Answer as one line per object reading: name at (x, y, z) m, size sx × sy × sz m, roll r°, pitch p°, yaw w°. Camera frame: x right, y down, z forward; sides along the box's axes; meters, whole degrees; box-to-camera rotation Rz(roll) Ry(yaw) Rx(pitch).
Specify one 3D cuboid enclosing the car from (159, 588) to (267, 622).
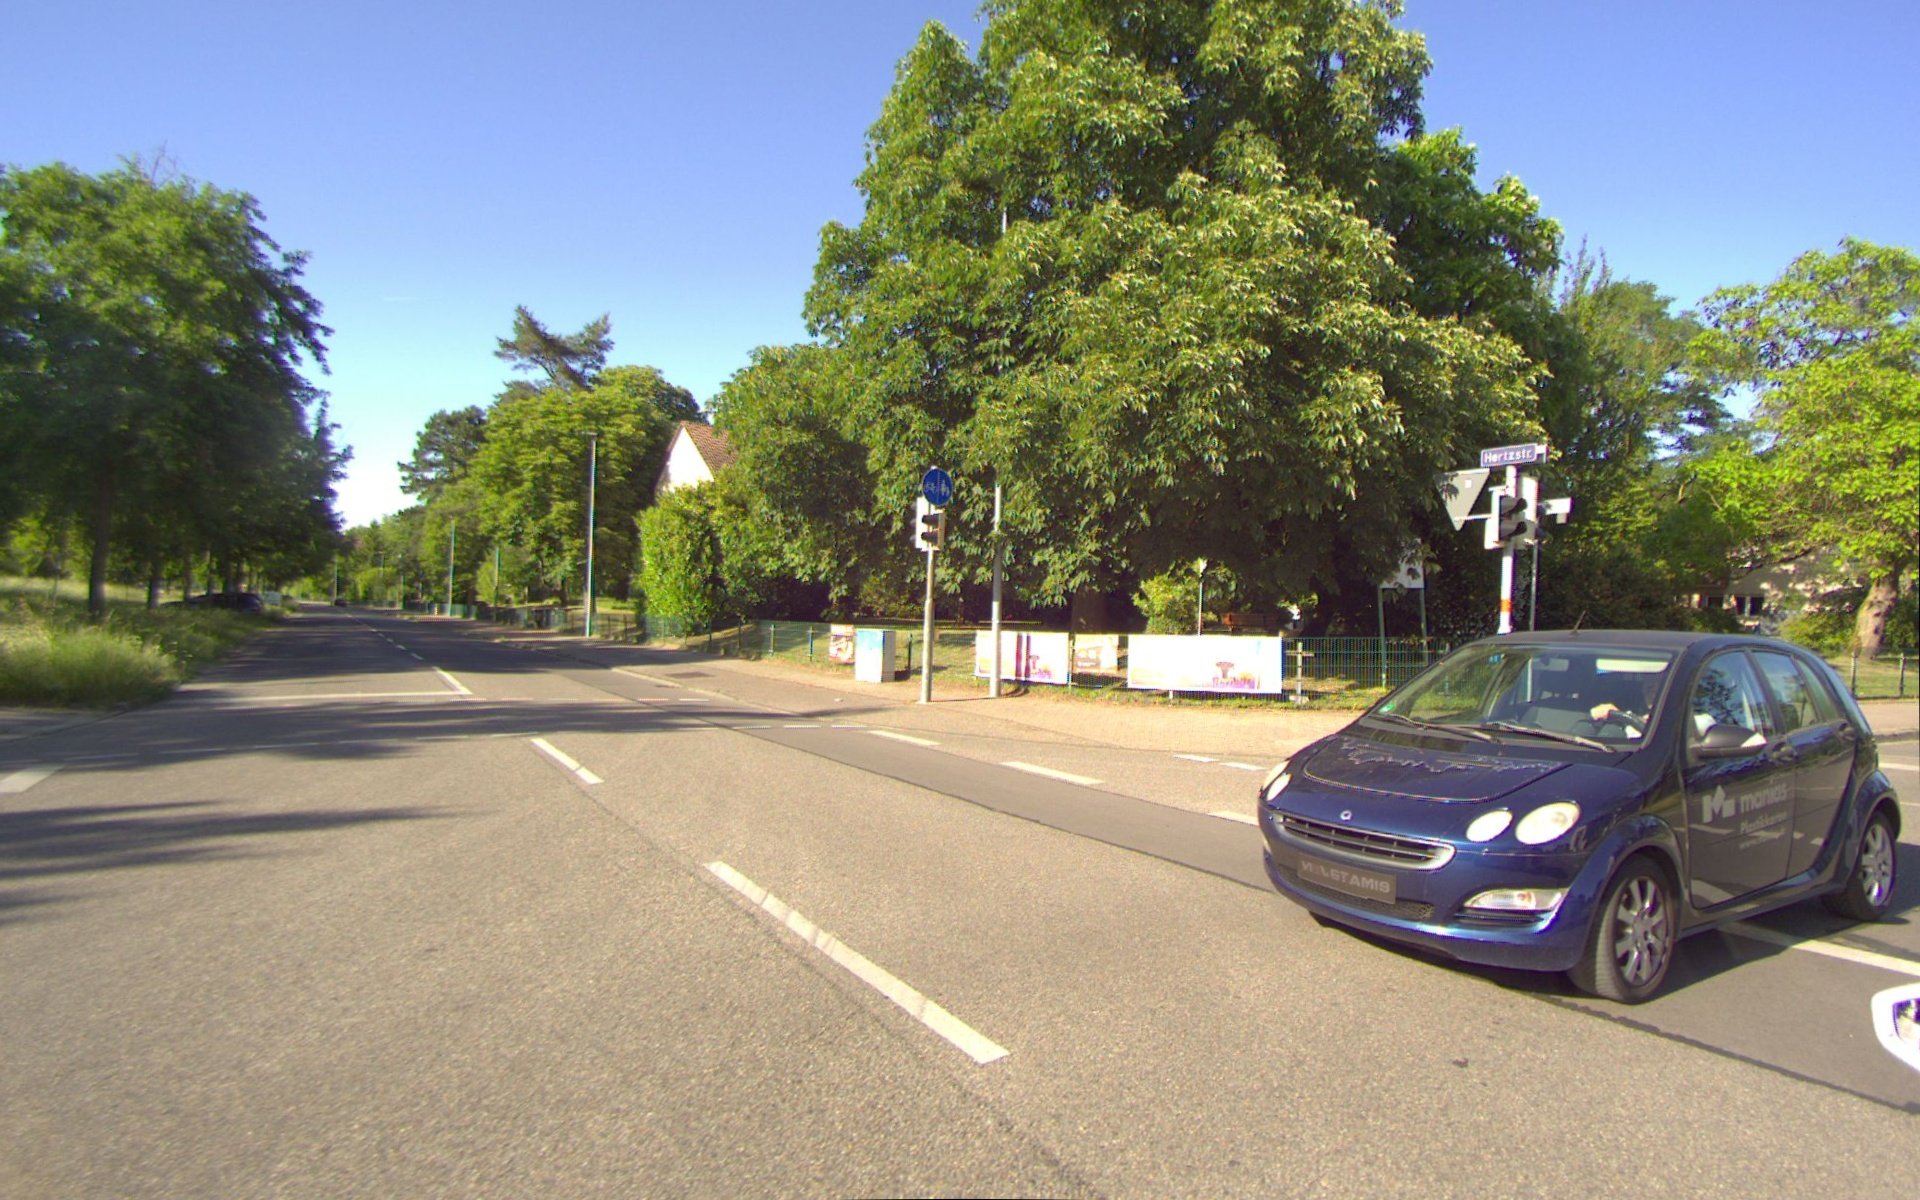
car at (-35.439, 0.243, 47.796) m, size 3.955 × 1.441 × 1.628 m, roll 2°, pitch 2°, yaw -32°

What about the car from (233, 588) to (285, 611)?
car at (-65.553, -0.023, 94.003) m, size 3.958 × 1.951 × 1.981 m, roll 2°, pitch 2°, yaw -34°

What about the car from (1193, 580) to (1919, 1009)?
car at (3.265, 0.779, 5.228) m, size 3.807 × 1.474 × 1.797 m, roll 4°, pitch -2°, yaw -31°

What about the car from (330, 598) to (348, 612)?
car at (-97.433, 0.750, 157.548) m, size 1.982 × 2.041 × 3.956 m, roll 1°, pitch 2°, yaw -38°
